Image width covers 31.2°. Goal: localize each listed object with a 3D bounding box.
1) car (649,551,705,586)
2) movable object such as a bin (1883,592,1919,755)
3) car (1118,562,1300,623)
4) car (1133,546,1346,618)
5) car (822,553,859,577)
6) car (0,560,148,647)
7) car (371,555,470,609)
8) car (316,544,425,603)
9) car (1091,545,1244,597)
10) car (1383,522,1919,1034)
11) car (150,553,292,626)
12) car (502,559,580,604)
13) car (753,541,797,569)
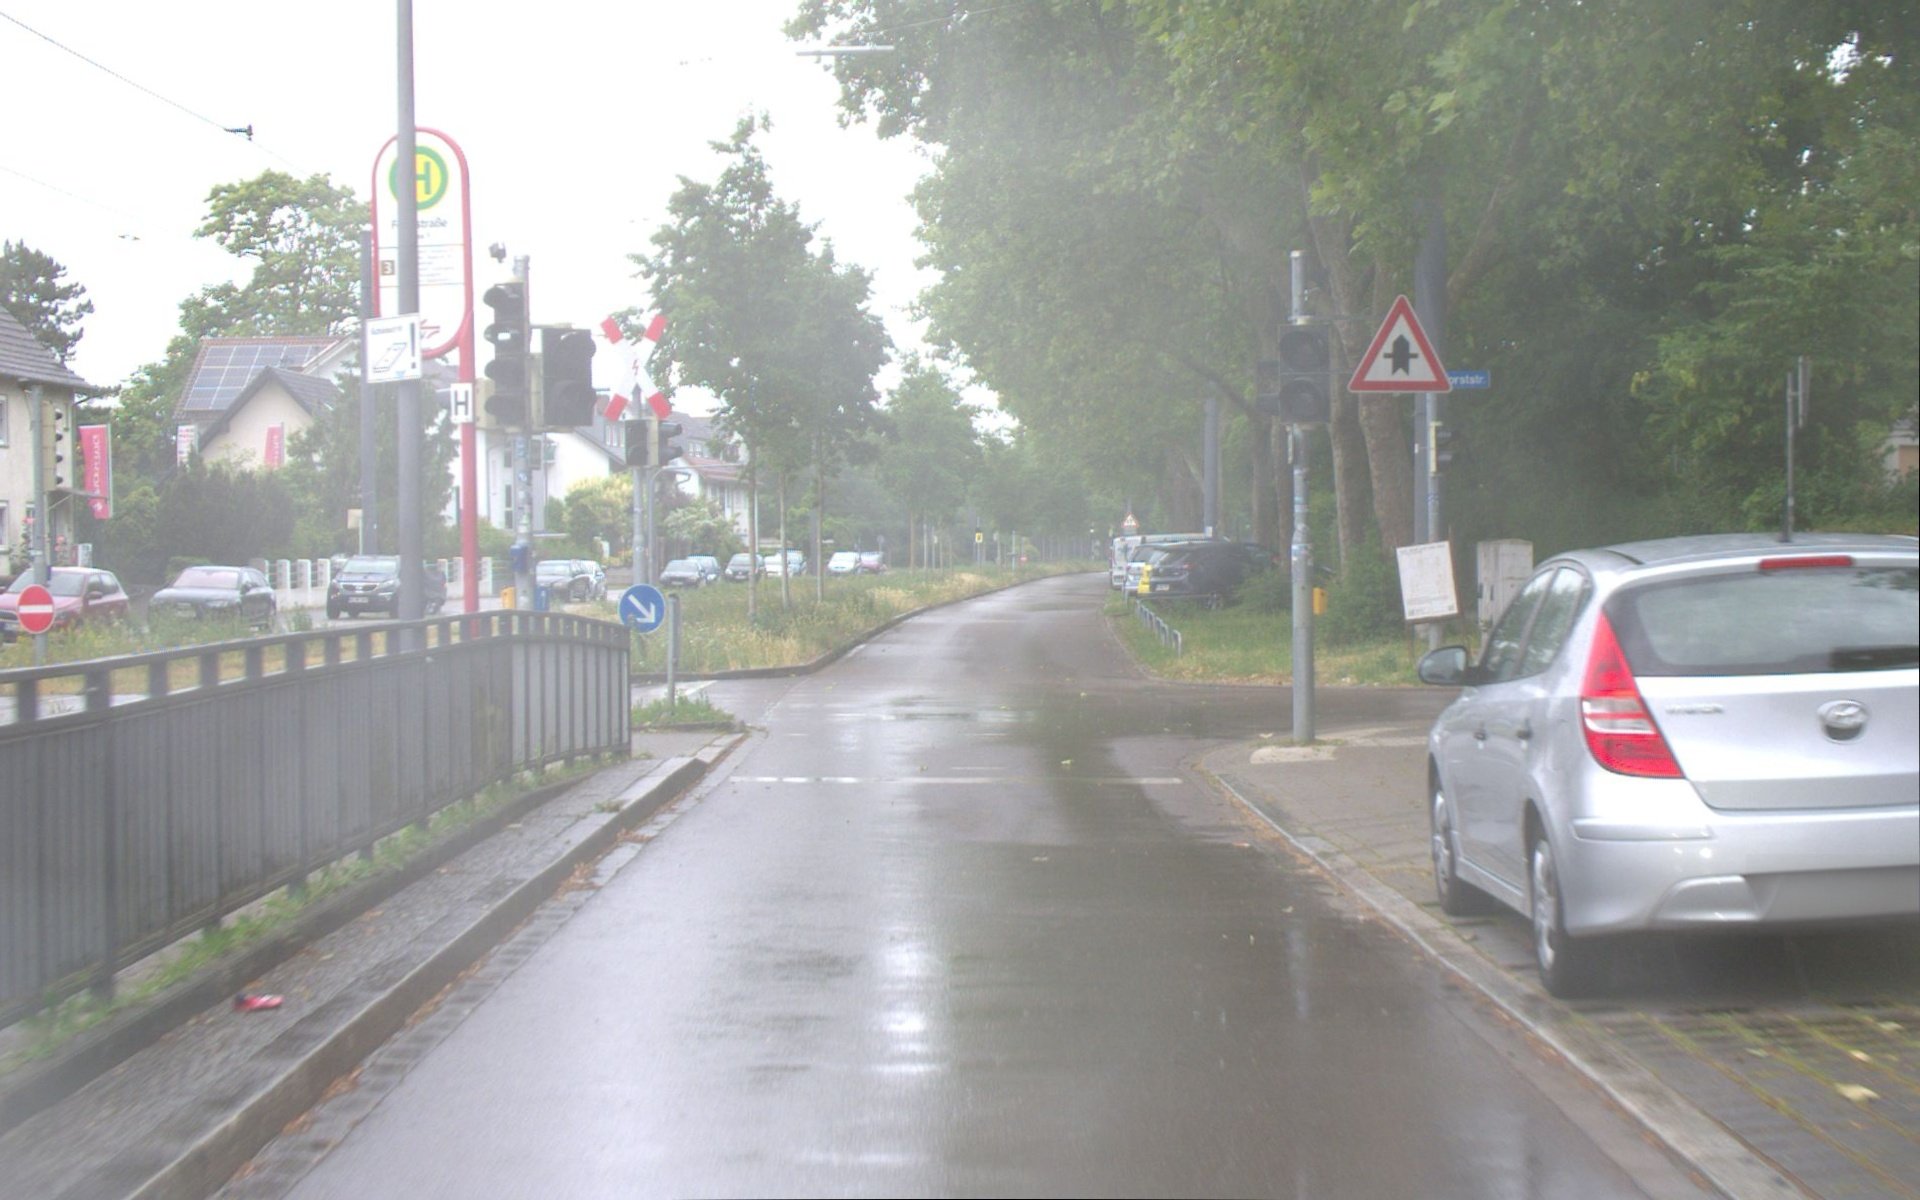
[{"bbox_3d":[-12.329,-1.372,149.879,1.928,1.481,4.000,0,0,3],"label":"car"},{"bbox_3d":[6.366,0.452,21.914,0.692,1.018,0.824,-3,0,-1],"label":"movable object such as a bin"},{"bbox_3d":[6.058,-0.188,83.736,3.986,1.448,2.001,0,0,-14],"label":"car"},{"bbox_3d":[5.794,-0.371,71.427,3.986,1.448,2.001,0,0,-14],"label":"car"},{"bbox_3d":[-7.419,-2.158,214.051,1.928,1.481,4.000,0,0,3],"label":"car"},{"bbox_3d":[-15.907,0.044,60.883,1.928,1.481,4.000,0,0,3],"label":"car"},{"bbox_3d":[-14.959,-0.496,95.539,1.928,1.481,4.000,0,0,3],"label":"car"},{"bbox_3d":[-15.203,-0.671,88.857,1.928,1.481,4.000,0,0,3],"label":"car"},{"bbox_3d":[5.972,-0.823,99.353,3.986,1.448,2.001,0,0,-14],"label":"car"},{"bbox_3d":[2.680,0.508,12.179,1.807,1.462,3.794,-4,0,0],"label":"car"},{"bbox_3d":[-15.395,-0.222,71.789,1.928,1.481,4.000,0,0,3],"label":"car"},{"bbox_3d":[-14.047,-0.615,115.428,1.928,1.481,4.000,0,0,3],"label":"car"},{"bbox_3d":[-9.868,-2.396,183.850,1.928,1.481,4.000,0,0,3],"label":"car"}]
